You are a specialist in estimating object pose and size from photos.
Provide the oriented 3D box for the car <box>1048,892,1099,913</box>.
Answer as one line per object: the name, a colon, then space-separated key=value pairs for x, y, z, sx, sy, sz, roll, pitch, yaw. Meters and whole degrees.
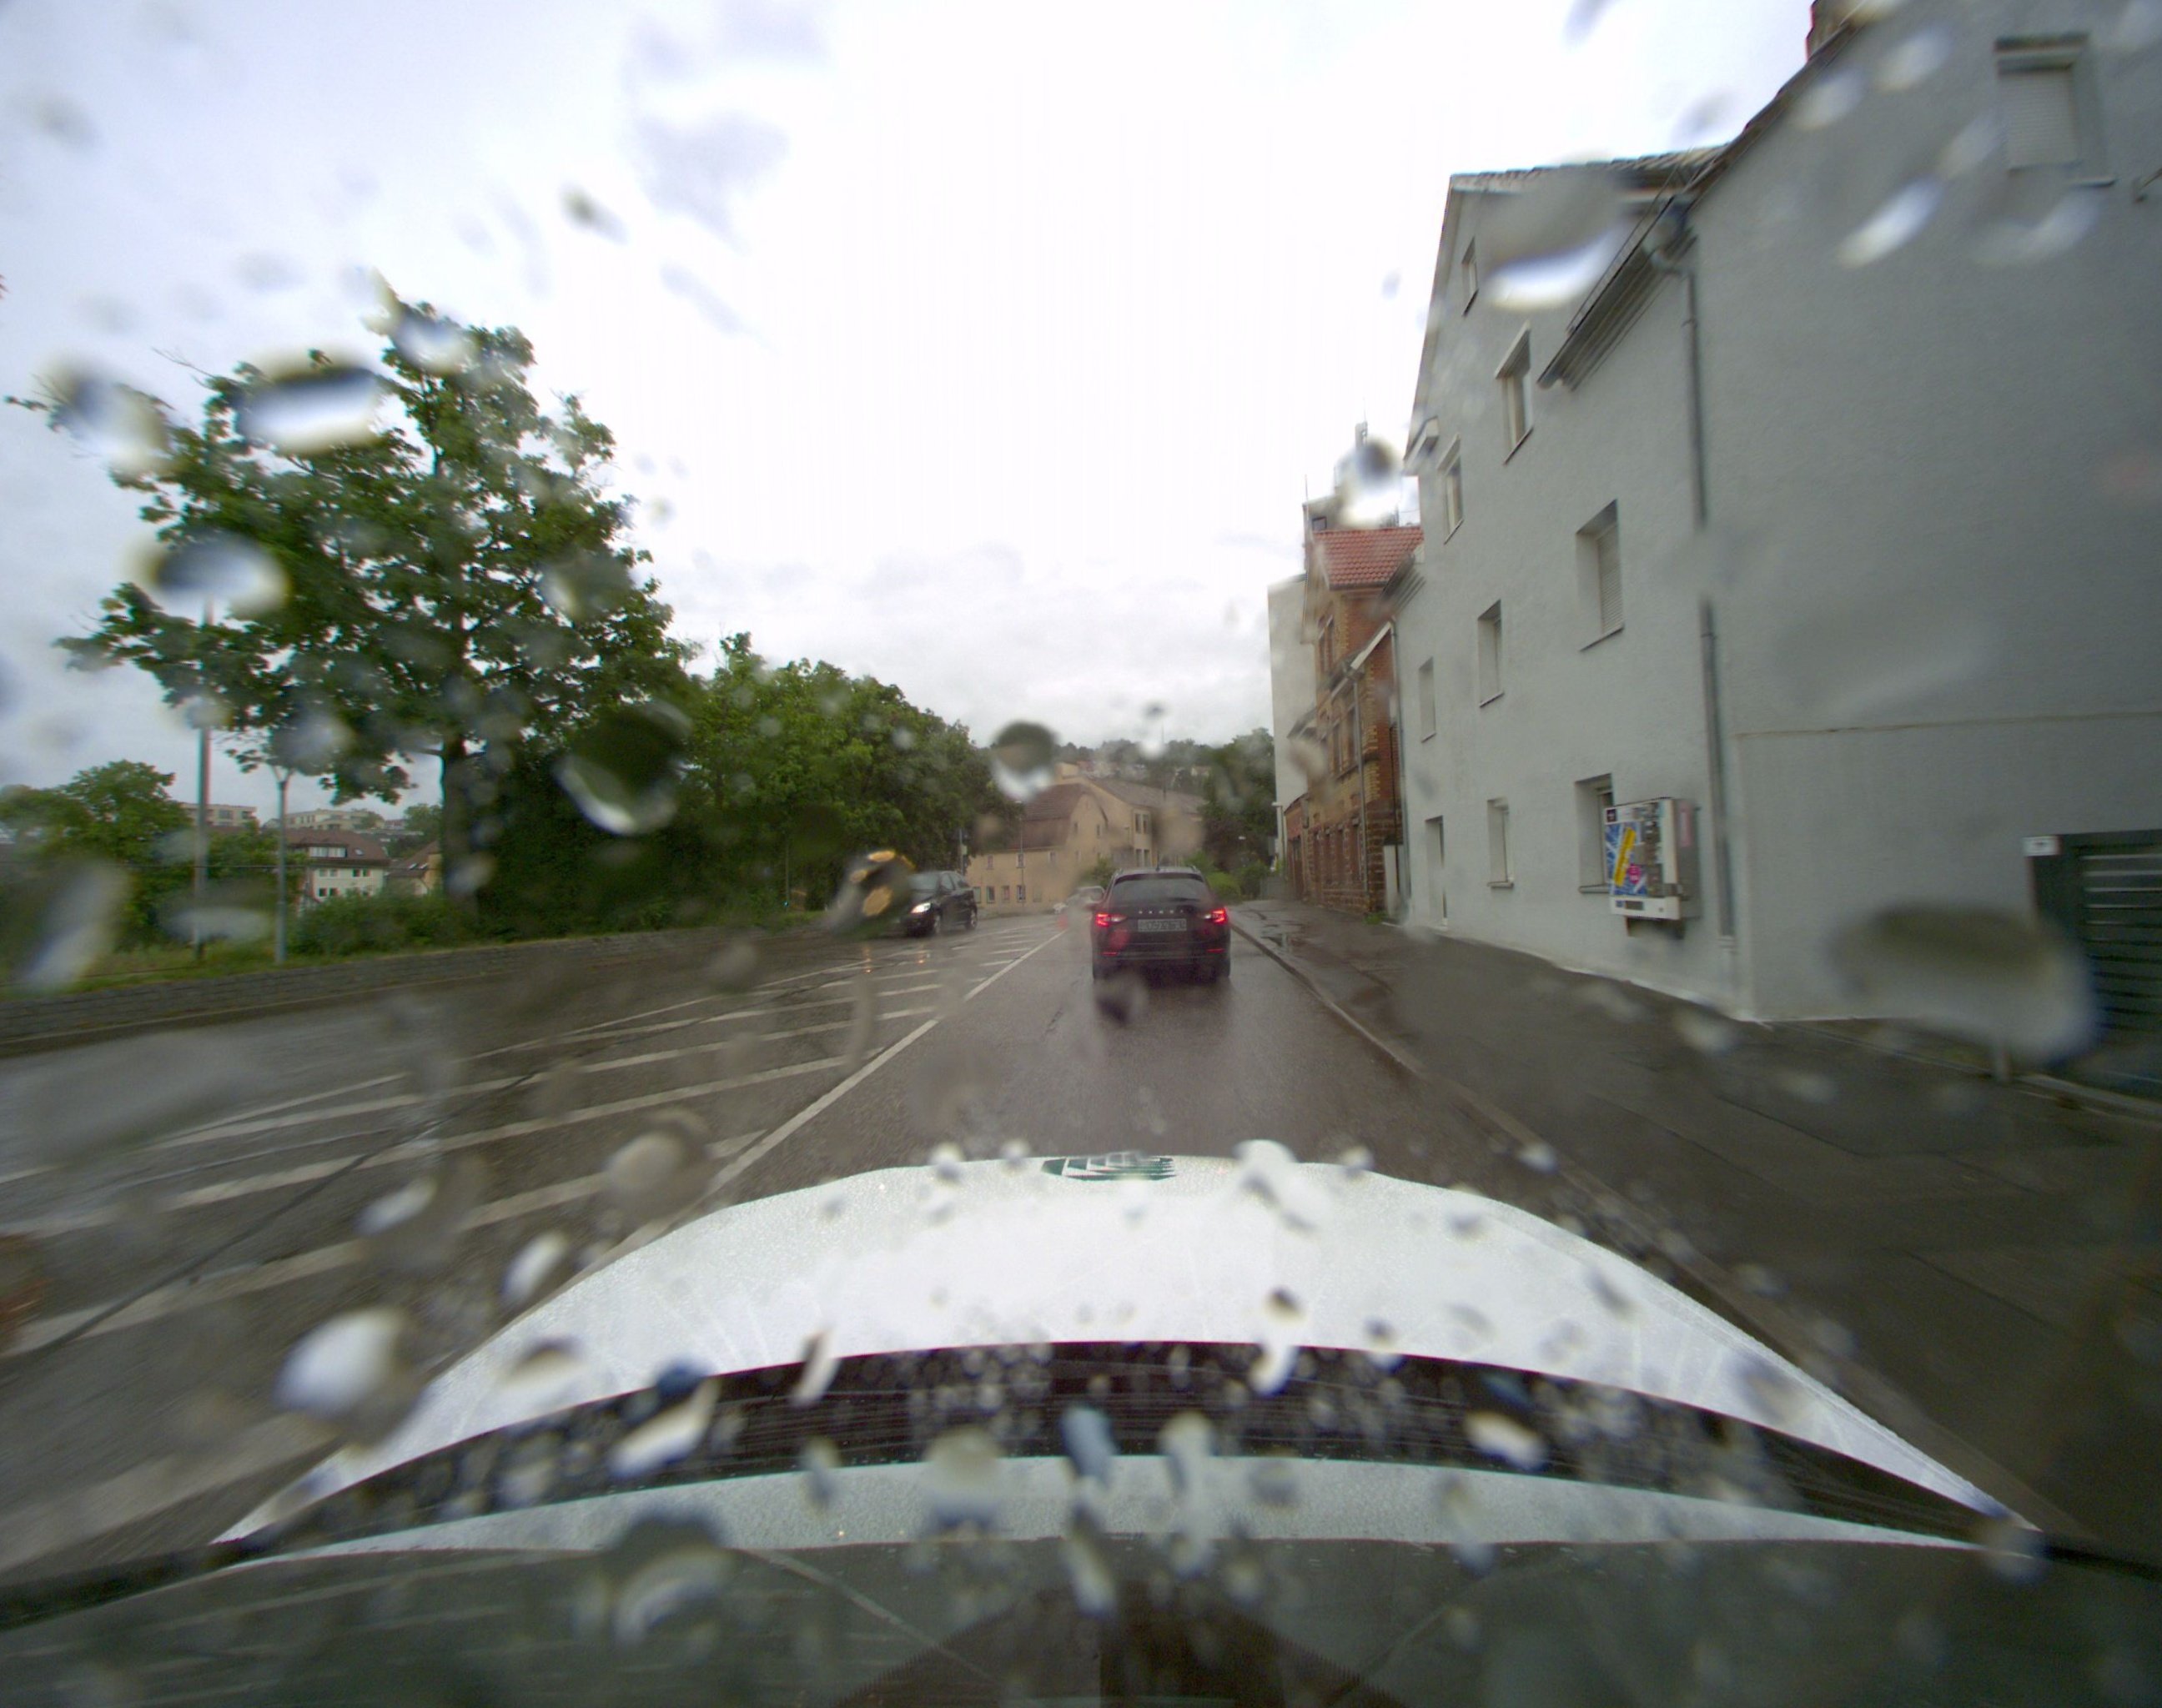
car: x=-0.622 y=4.045 z=67.628 sx=3.766 sy=1.453 sz=1.699 roll=-3 pitch=-3 yaw=-22

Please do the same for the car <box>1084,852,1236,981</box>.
car: x=1.056 y=0.813 z=11.946 sx=1.775 sy=1.483 sz=4.248 roll=-3 pitch=-2 yaw=3

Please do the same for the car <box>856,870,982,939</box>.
car: x=-3.902 y=1.182 z=20.363 sx=1.630 sy=1.521 sz=4.083 roll=-2 pitch=-1 yaw=11

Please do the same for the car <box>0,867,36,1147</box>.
car: x=-7.168 y=0.843 z=2.748 sx=1.634 sy=1.552 sz=4.166 roll=-1 pitch=-1 yaw=10

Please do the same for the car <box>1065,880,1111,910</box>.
car: x=0.342 y=2.368 z=46.676 sx=1.730 sy=1.591 sz=4.163 roll=1 pitch=-4 yaw=-13
